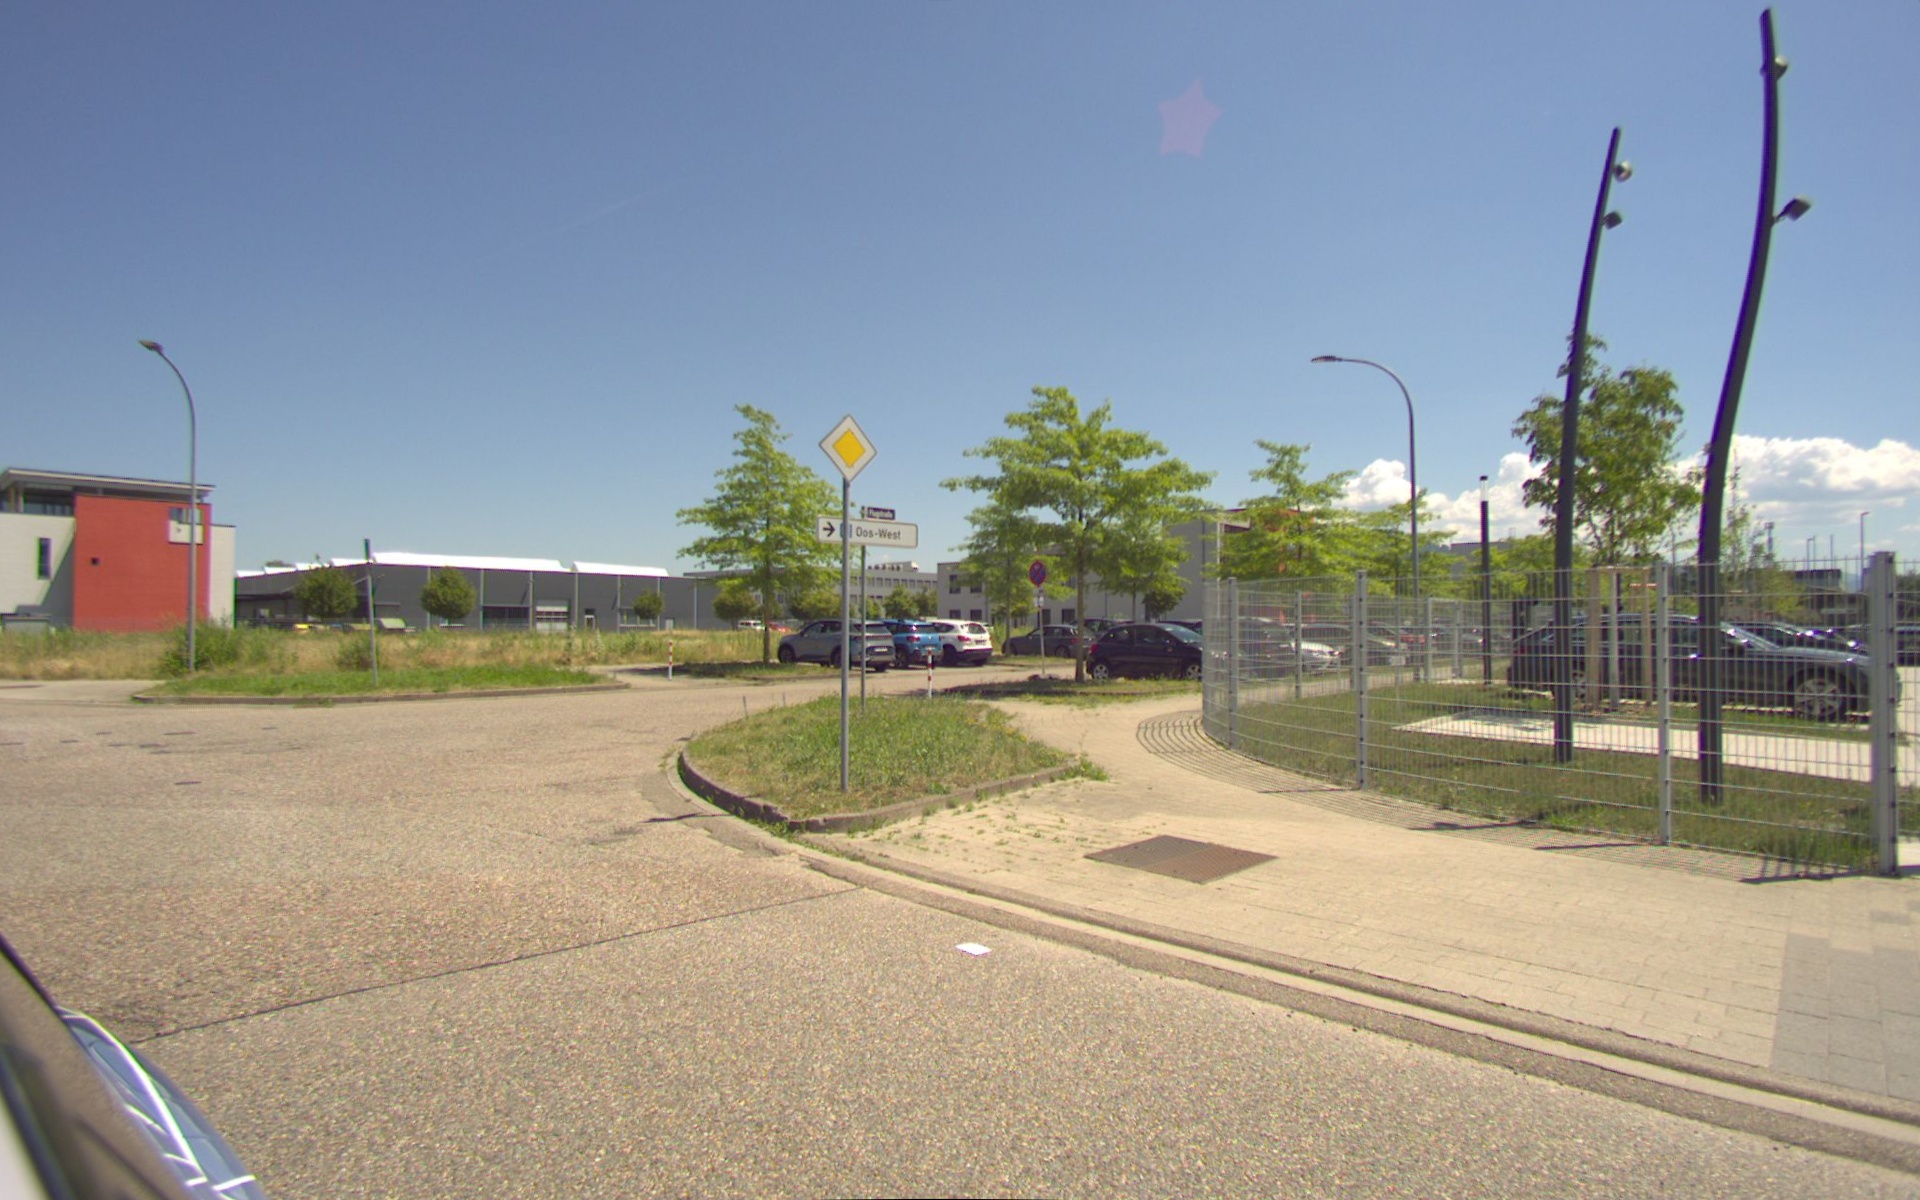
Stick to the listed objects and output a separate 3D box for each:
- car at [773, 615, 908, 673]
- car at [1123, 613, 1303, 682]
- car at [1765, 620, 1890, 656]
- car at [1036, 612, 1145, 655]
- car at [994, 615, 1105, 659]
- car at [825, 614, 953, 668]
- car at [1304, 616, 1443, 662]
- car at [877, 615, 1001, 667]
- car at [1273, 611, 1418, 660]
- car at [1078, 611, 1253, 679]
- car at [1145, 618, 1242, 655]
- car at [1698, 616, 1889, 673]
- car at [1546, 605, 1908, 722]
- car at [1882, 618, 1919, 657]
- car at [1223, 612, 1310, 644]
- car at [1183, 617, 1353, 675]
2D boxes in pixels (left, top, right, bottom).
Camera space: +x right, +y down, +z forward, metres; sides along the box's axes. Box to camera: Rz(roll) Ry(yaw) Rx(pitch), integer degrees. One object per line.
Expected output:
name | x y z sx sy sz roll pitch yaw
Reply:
car | -3.845 1.347 32.097 4.308 1.710 1.931 -2 -1 43
car | 6.438 1.239 26.092 4.254 1.633 1.588 -4 -3 44
car | 38.335 1.671 44.813 4.103 1.523 1.752 -2 -3 41
car | 5.465 1.405 42.577 4.204 1.710 1.931 -2 -1 43
car | 3.582 1.469 40.983 4.204 1.710 1.931 -2 -1 43
car | -2.454 1.362 34.317 4.308 1.710 1.931 -2 -1 43
car | 14.241 1.377 34.969 4.114 1.487 1.589 -4 -3 41
car | -0.794 1.428 36.036 4.308 1.710 1.931 -2 -1 43
car | 12.538 1.188 33.078 4.114 1.487 1.589 -4 -3 41
car | 4.817 1.082 24.079 3.799 1.487 1.588 -4 -4 44
car | 11.354 1.758 49.432 4.204 1.710 1.931 -2 -1 43
car | 23.769 1.262 29.008 4.103 1.523 1.752 -2 -3 41
car | 11.292 0.891 15.146 4.103 1.523 1.752 -2 -3 41
car | 38.058 1.489 40.299 1.775 1.523 4.050 -2 -3 40
car | 16.932 1.549 55.956 4.204 1.710 1.931 -2 -1 43
car | 8.357 1.274 27.671 4.114 1.487 1.589 -4 -3 41
